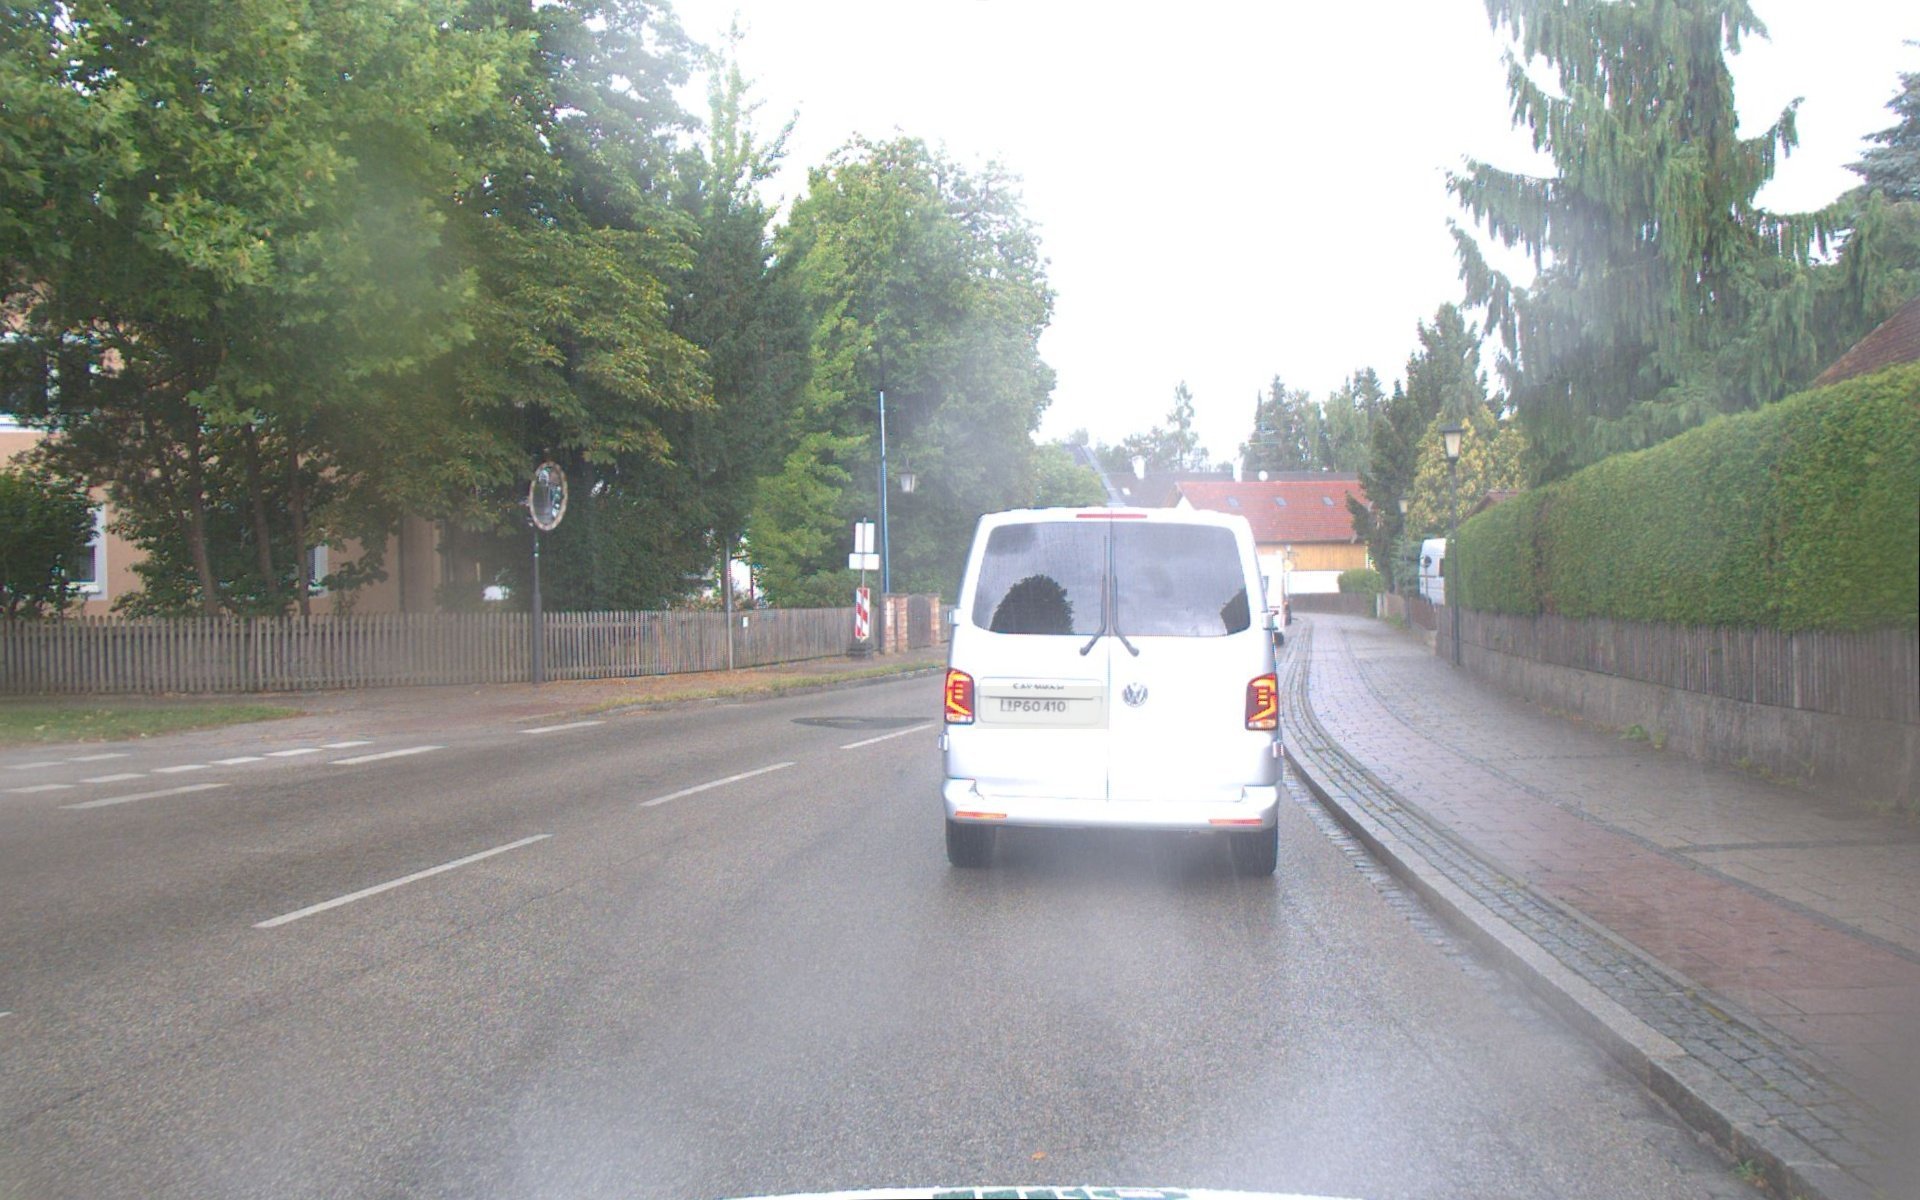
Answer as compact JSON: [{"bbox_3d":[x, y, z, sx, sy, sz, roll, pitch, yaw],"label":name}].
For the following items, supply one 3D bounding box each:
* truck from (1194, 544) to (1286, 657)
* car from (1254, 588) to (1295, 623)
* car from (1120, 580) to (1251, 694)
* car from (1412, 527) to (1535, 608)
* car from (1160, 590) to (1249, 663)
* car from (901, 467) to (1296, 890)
[{"bbox_3d":[8.394,0.034,49.120,2.422,3.128,6.301,1,0,11],"label":"truck"},{"bbox_3d":[14.461,0.283,75.870,1.762,1.534,4.003,1,0,11],"label":"car"},{"bbox_3d":[3.599,0.547,25.885,1.762,1.616,4.003,1,0,11],"label":"car"},{"bbox_3d":[14.925,-0.885,48.347,1.953,2.211,4.951,1,0,-1],"label":"car"},{"bbox_3d":[5.580,0.576,37.450,1.762,1.534,4.003,1,0,11],"label":"car"},{"bbox_3d":[1.058,0.385,10.185,1.762,2.049,4.003,1,0,14],"label":"car"}]
